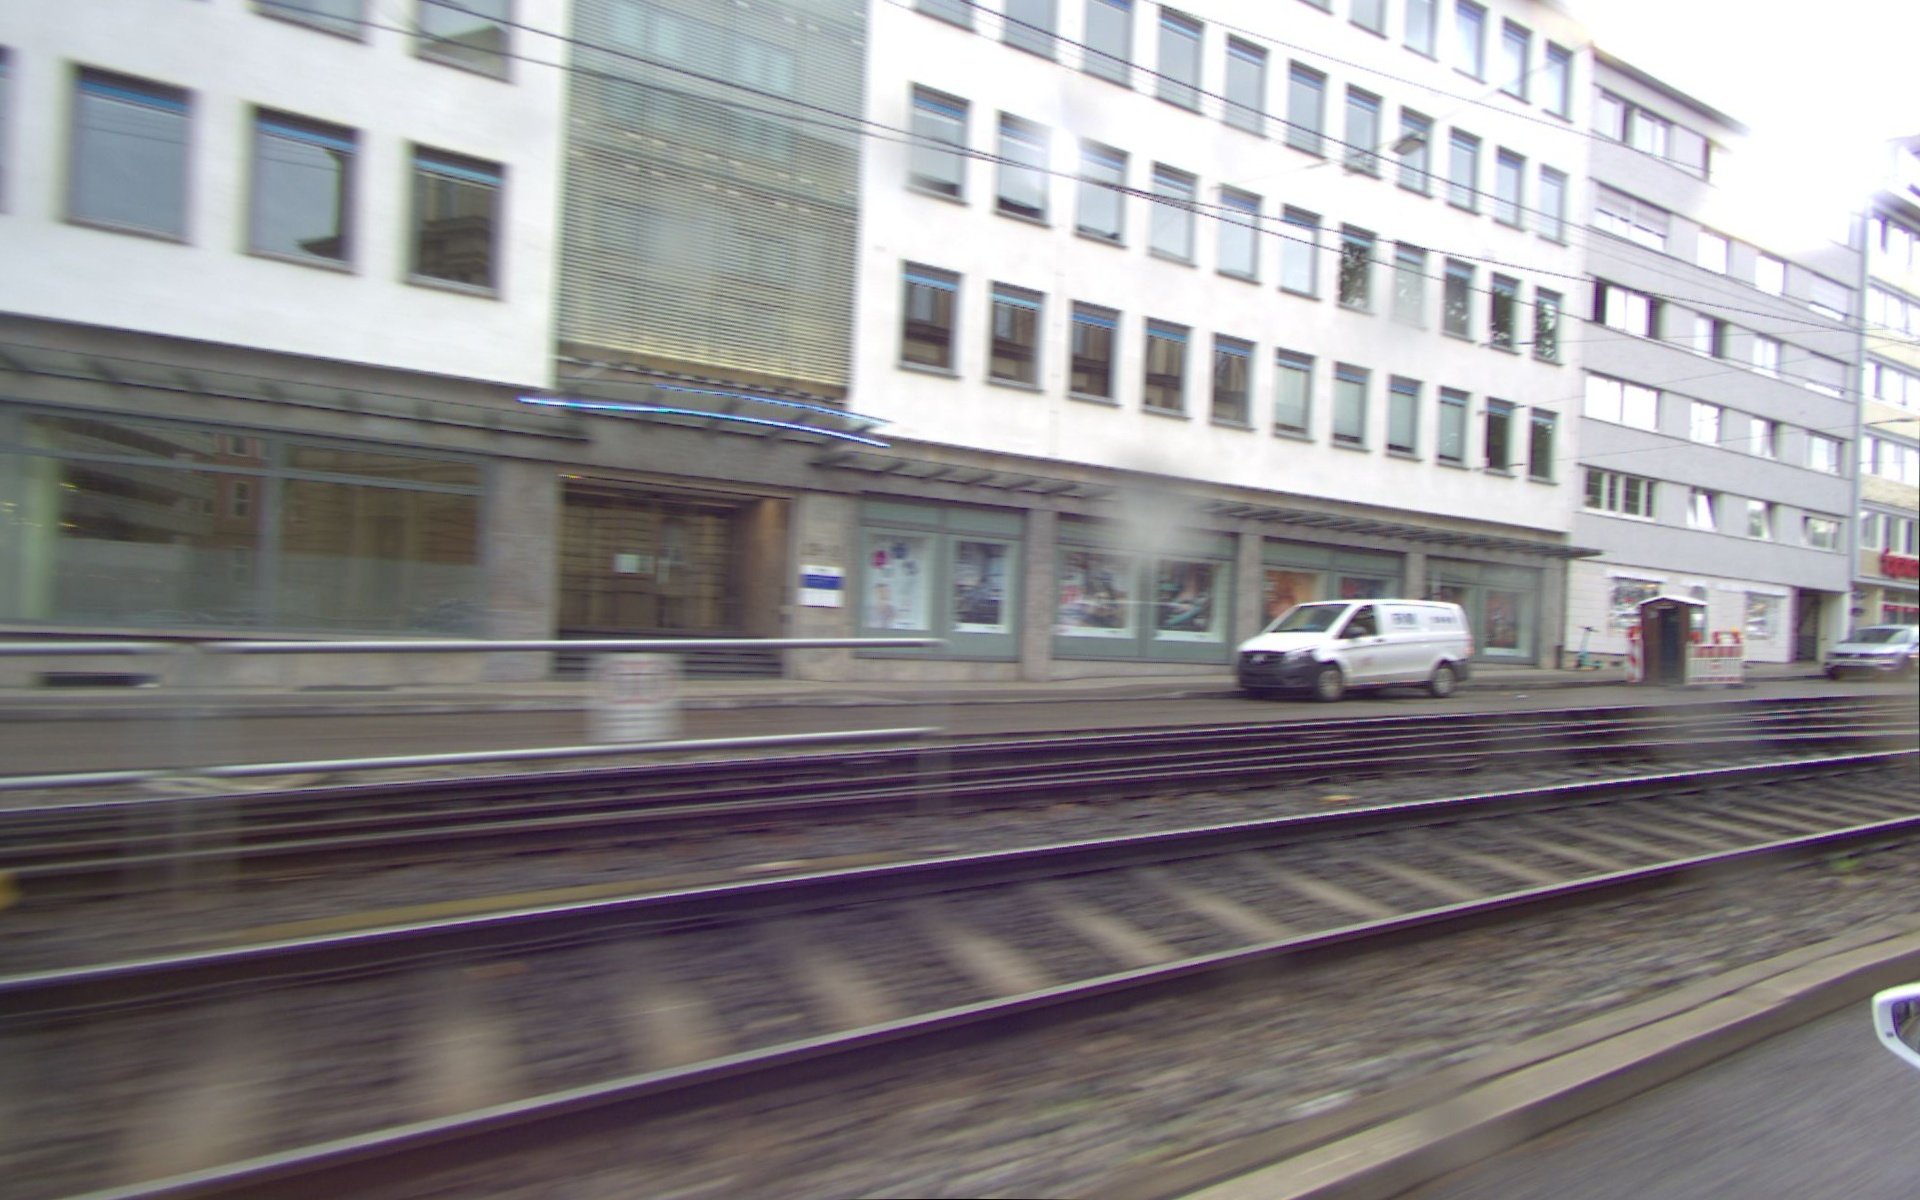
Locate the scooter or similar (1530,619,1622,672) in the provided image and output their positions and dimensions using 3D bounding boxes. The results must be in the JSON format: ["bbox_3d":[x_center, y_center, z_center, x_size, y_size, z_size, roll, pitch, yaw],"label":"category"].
[{"bbox_3d":[17.373,1.287,28.303,3.050,1.392,0.693,3,1,-28],"label":"scooter or similar"}]

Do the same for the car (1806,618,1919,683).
[{"bbox_3d":[27.546,1.440,29.837,4.634,1.696,1.986,1,2,-27],"label":"car"}]

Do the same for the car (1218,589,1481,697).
[{"bbox_3d":[7.606,0.853,19.502,5.070,1.867,1.985,3,-1,-29],"label":"car"}]
